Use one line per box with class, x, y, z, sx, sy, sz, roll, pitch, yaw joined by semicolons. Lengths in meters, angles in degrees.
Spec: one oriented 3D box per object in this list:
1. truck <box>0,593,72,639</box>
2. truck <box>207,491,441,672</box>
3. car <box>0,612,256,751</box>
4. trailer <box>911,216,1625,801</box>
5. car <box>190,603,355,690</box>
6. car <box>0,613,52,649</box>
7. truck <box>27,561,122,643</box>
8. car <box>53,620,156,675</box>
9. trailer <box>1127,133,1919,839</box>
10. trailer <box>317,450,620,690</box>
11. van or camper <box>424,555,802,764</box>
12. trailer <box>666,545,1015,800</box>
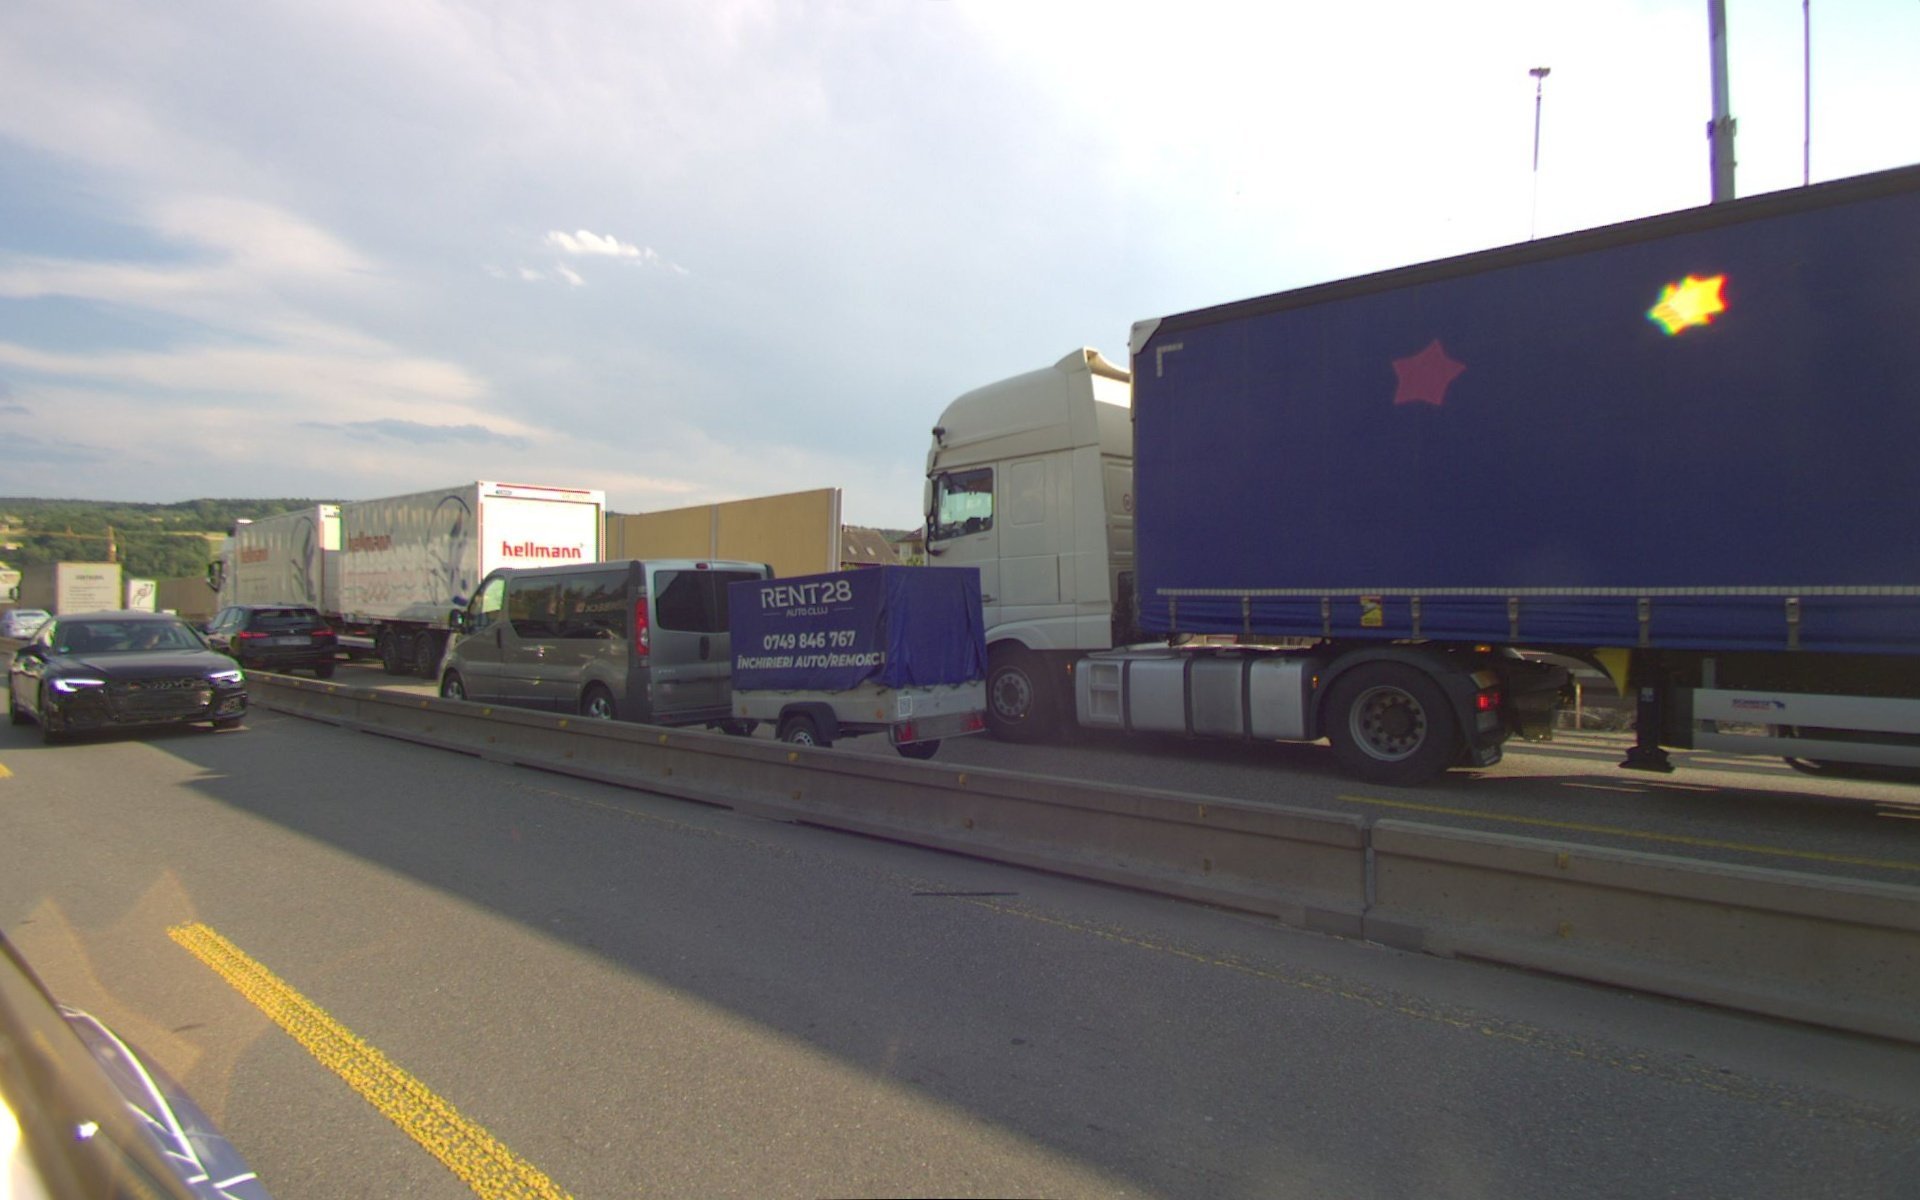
truck;-57.923;0.977;63.295;7.355;2.718;2.660;-1;0;41
truck;-18.104;-0.400;28.406;10.068;4.296;2.798;-1;0;41
car;-10.513;0.881;12.619;4.346;1.430;1.849;-1;-1;41
trailer;2.764;-0.619;10.182;6.219;4.067;2.895;-1;0;41
car;-14.055;0.874;20.611;3.998;1.586;1.837;-1;0;41
car;-41.007;1.313;44.188;3.230;1.467;1.604;-1;0;40
truck;-47.296;0.143;53.982;7.595;4.092;2.836;-1;0;41
car;-26.385;1.420;31.178;3.998;1.519;1.864;-1;0;41
trailer;7.675;-0.683;5.889;13.767;4.067;2.895;-1;0;41
trailer;-11.059;-0.510;22.190;8.731;4.315;2.798;-1;0;41
van or camper;-4.148;0.559;11.570;5.001;1.906;1.844;-1;0;41
trailer;-1.133;0.540;8.963;2.983;1.868;1.433;-1;0;41
